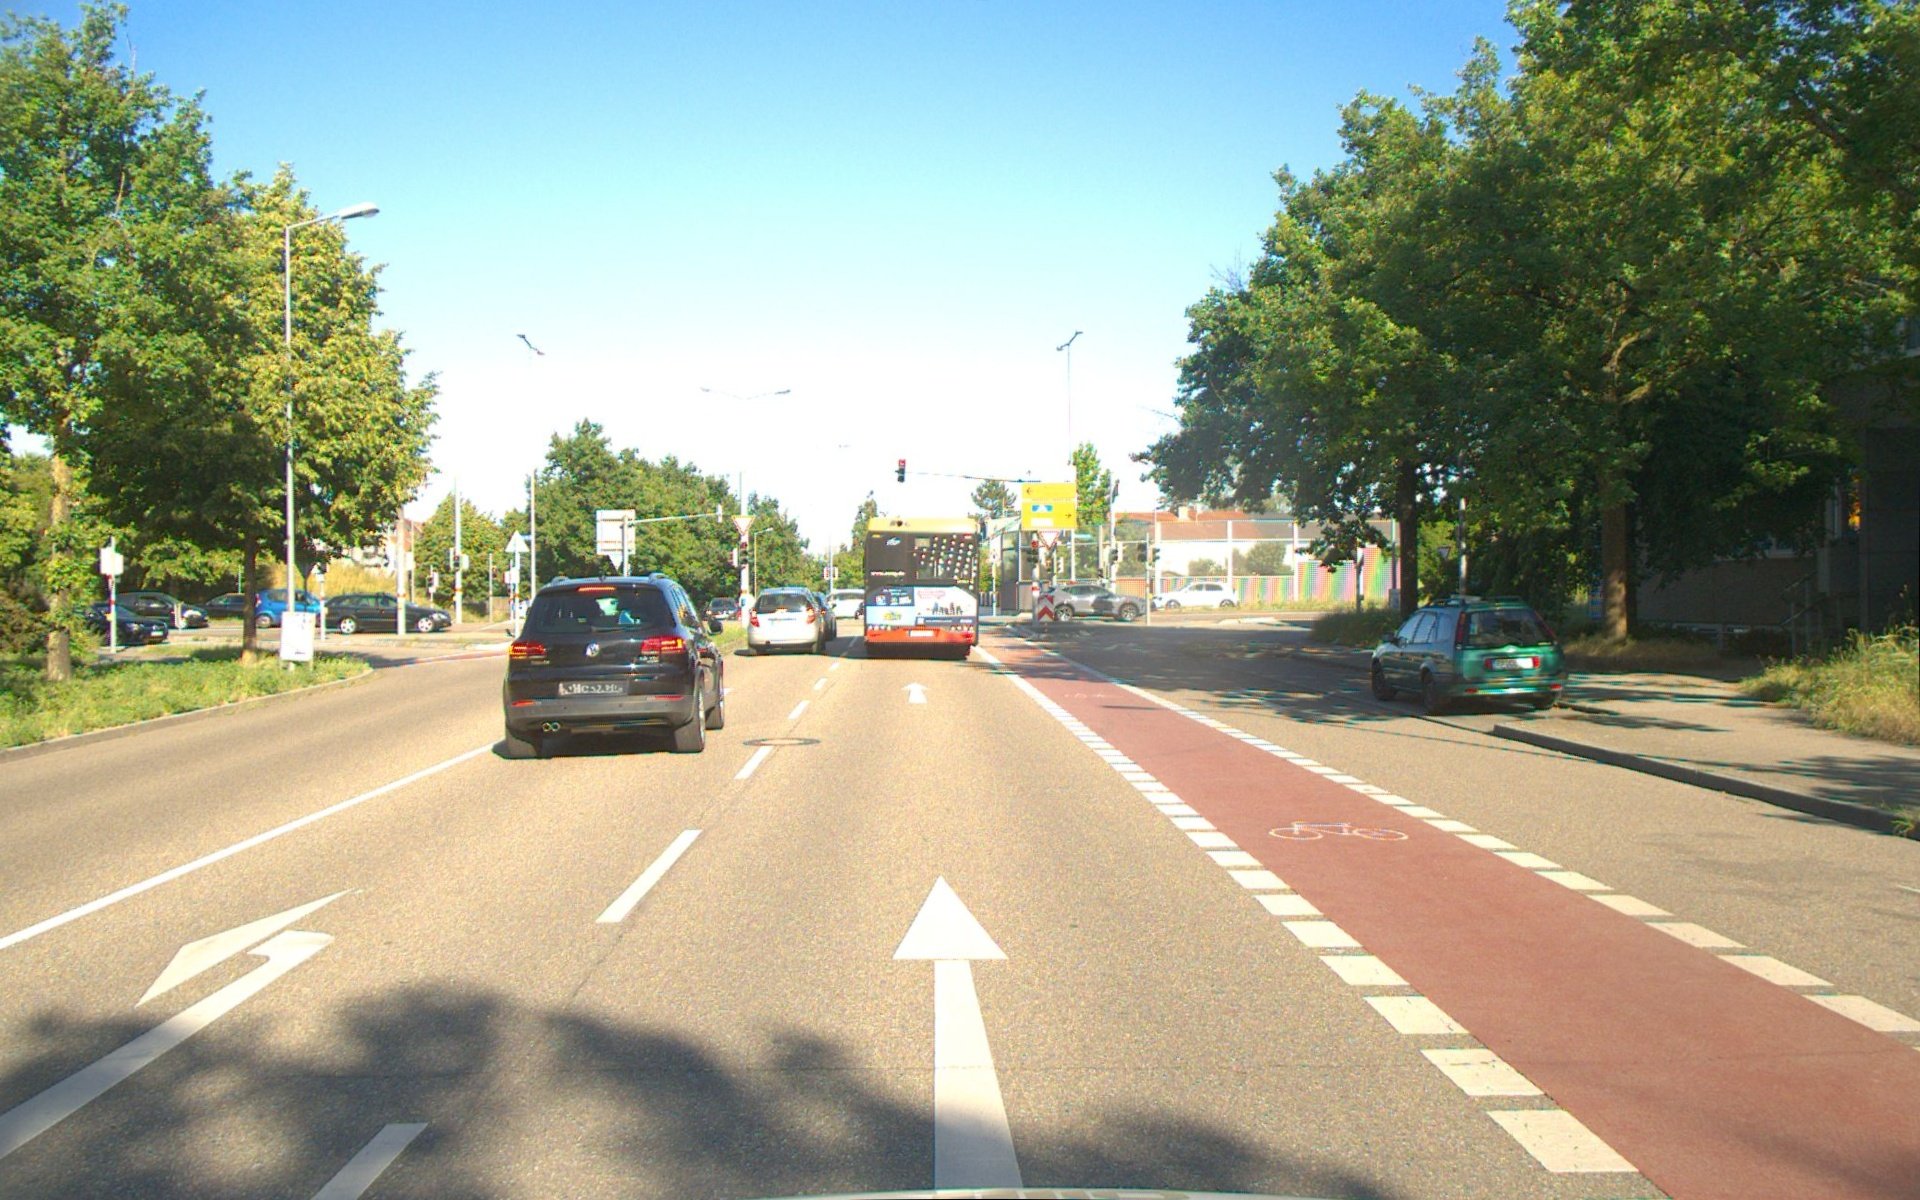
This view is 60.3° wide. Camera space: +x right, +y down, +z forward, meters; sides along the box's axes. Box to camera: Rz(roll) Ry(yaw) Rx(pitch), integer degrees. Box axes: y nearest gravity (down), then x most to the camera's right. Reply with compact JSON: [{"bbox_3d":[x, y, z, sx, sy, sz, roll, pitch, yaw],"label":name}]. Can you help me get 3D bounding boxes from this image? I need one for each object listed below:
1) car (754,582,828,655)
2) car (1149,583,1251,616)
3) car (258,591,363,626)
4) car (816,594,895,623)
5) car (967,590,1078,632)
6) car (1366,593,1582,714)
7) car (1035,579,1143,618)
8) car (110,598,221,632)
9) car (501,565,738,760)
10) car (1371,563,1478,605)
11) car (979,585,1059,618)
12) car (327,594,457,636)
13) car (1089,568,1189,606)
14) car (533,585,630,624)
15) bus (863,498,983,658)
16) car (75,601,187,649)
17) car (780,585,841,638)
[{"bbox_3d":[-4.218,0.415,40.858,1.721,1.648,4.027,-1,1,-7],"label":"car"},{"bbox_3d":[11.650,-0.052,80.490,4.611,1.567,1.998,0,0,-6],"label":"car"},{"bbox_3d":[-27.077,0.364,69.005,3.776,1.409,1.678,1,-1,-10],"label":"car"},{"bbox_3d":[-5.157,0.435,81.188,3.773,1.363,1.680,1,-1,-7],"label":"car"},{"bbox_3d":[2.033,0.330,53.282,3.447,1.325,1.576,0,0,7],"label":"car"},{"bbox_3d":[6.895,0.667,22.619,1.560,1.453,4.203,-2,0,-1],"label":"car"},{"bbox_3d":[5.194,-0.052,66.871,4.140,1.506,1.761,1,-1,-6],"label":"car"},{"bbox_3d":[-32.606,0.618,67.941,3.776,1.336,1.504,1,-1,-10],"label":"car"},{"bbox_3d":[-3.291,0.575,16.704,1.785,1.703,4.000,-1,-1,-4],"label":"car"},{"bbox_3d":[15.494,-0.512,55.125,3.356,1.318,1.448,1,-1,-27],"label":"car"},{"bbox_3d":[3.025,0.079,85.484,3.911,1.640,1.693,0,0,-7],"label":"car"},{"bbox_3d":[-21.531,0.547,62.808,4.377,1.466,1.680,-1,1,-7],"label":"car"},{"bbox_3d":[7.929,-0.552,73.354,4.140,1.590,1.761,1,-1,-6],"label":"car"},{"bbox_3d":[-17.409,0.209,76.154,4.309,1.713,1.706,1,-1,-14],"label":"car"},{"bbox_3d":[-0.965,-0.514,41.425,2.544,3.393,11.979,1,0,-2],"label":"bus"},{"bbox_3d":[-28.170,0.874,56.137,4.510,1.427,1.987,-2,1,44],"label":"car"},{"bbox_3d":[-4.464,0.340,49.667,1.556,1.511,3.681,-1,0,-1],"label":"car"}]
